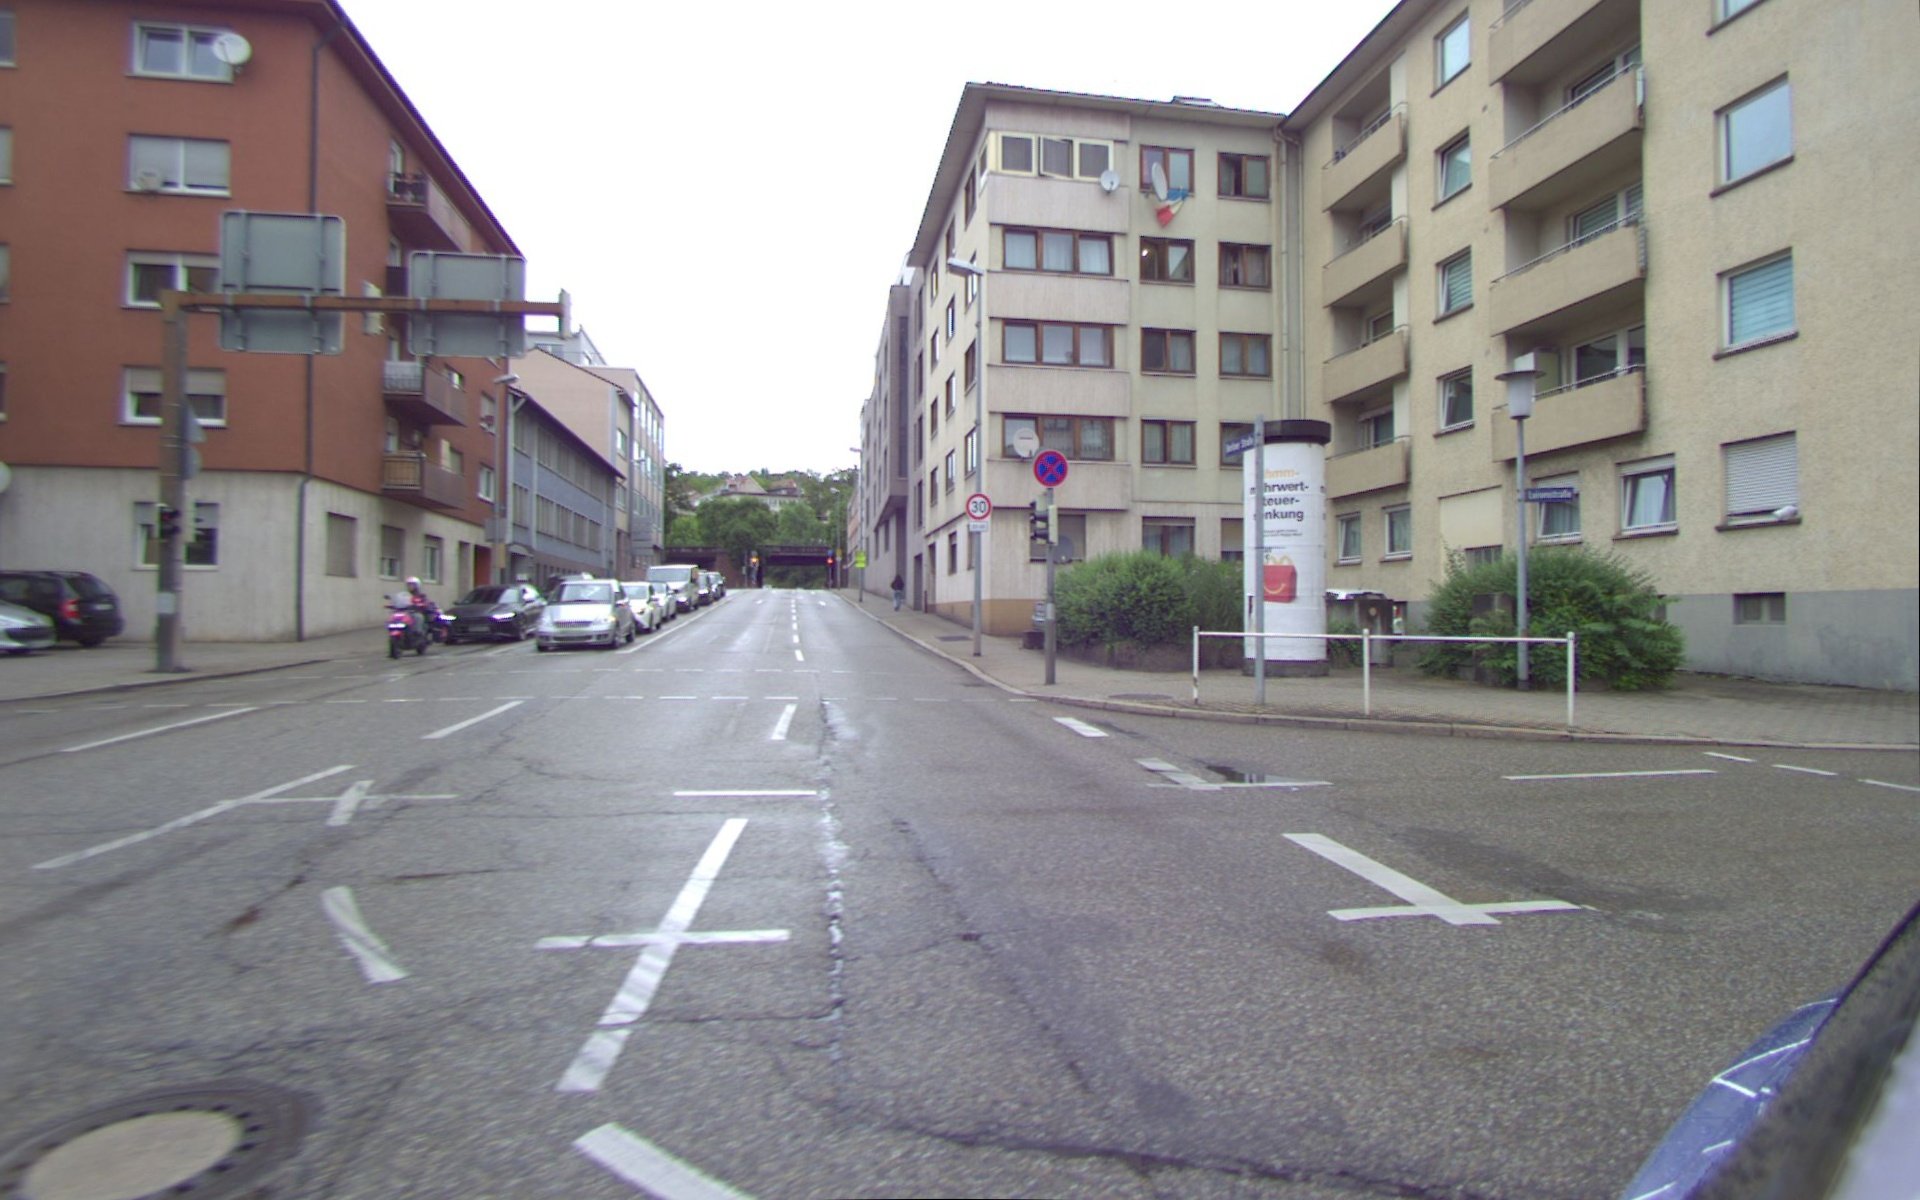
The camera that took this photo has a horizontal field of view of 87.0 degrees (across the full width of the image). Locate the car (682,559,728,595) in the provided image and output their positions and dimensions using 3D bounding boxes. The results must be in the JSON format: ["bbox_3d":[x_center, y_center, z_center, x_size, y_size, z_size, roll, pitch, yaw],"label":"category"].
[{"bbox_3d":[-14.101,-1.236,56.160,1.877,1.882,4.861,-1,0,-7],"label":"car"}]

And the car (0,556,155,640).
[{"bbox_3d":[-20.648,0.001,22.536,3.927,1.728,1.998,-2,-1,3],"label":"car"}]

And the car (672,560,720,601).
[{"bbox_3d":[-12.981,-0.912,49.988,1.692,1.882,4.355,-1,0,-7],"label":"car"}]

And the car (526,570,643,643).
[{"bbox_3d":[-8.789,0.080,24.027,1.803,1.573,4.007,-1,2,-8],"label":"car"}]

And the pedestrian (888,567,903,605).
[{"bbox_3d":[-2.970,-0.651,46.536,0.525,1.722,0.504,-1,-1,-14],"label":"pedestrian"}]

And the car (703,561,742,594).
[{"bbox_3d":[-14.730,-1.353,62.995,1.877,1.882,4.861,-1,0,-7],"label":"car"}]

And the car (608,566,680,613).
[{"bbox_3d":[-11.068,-0.412,35.697,1.812,1.573,4.007,-1,2,-8],"label":"car"}]

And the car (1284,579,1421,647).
[{"bbox_3d":[9.939,0.267,25.871,1.730,1.492,3.333,-1,3,-11],"label":"car"}]

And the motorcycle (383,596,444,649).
[{"bbox_3d":[-11.702,0.451,21.756,0.624,0.938,2.371,-2,3,-16],"label":"motorcycle"}]

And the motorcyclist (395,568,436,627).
[{"bbox_3d":[-11.723,-0.070,21.802,0.640,1.239,0.660,0,2,-16],"label":"motorcyclist"}]

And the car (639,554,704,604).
[{"bbox_3d":[-12.187,-0.858,43.029,1.904,1.940,4.861,-1,0,-7],"label":"car"}]

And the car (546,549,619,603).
[{"bbox_3d":[-13.628,-0.819,36.735,1.758,1.750,4.006,-1,-1,-10],"label":"car"}]

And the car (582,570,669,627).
[{"bbox_3d":[-9.810,-0.102,29.955,1.812,1.573,4.008,-1,2,-9],"label":"car"}]

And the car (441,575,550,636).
[{"bbox_3d":[-12.300,0.084,27.049,1.837,1.460,4.009,-1,2,-13],"label":"car"}]

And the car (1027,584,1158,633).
[{"bbox_3d":[3.553,0.220,27.361,3.196,1.207,1.384,-2,0,-9],"label":"car"}]

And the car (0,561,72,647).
[{"bbox_3d":[-19.984,0.137,19.661,3.922,1.602,1.675,-2,-1,-3],"label":"car"}]
